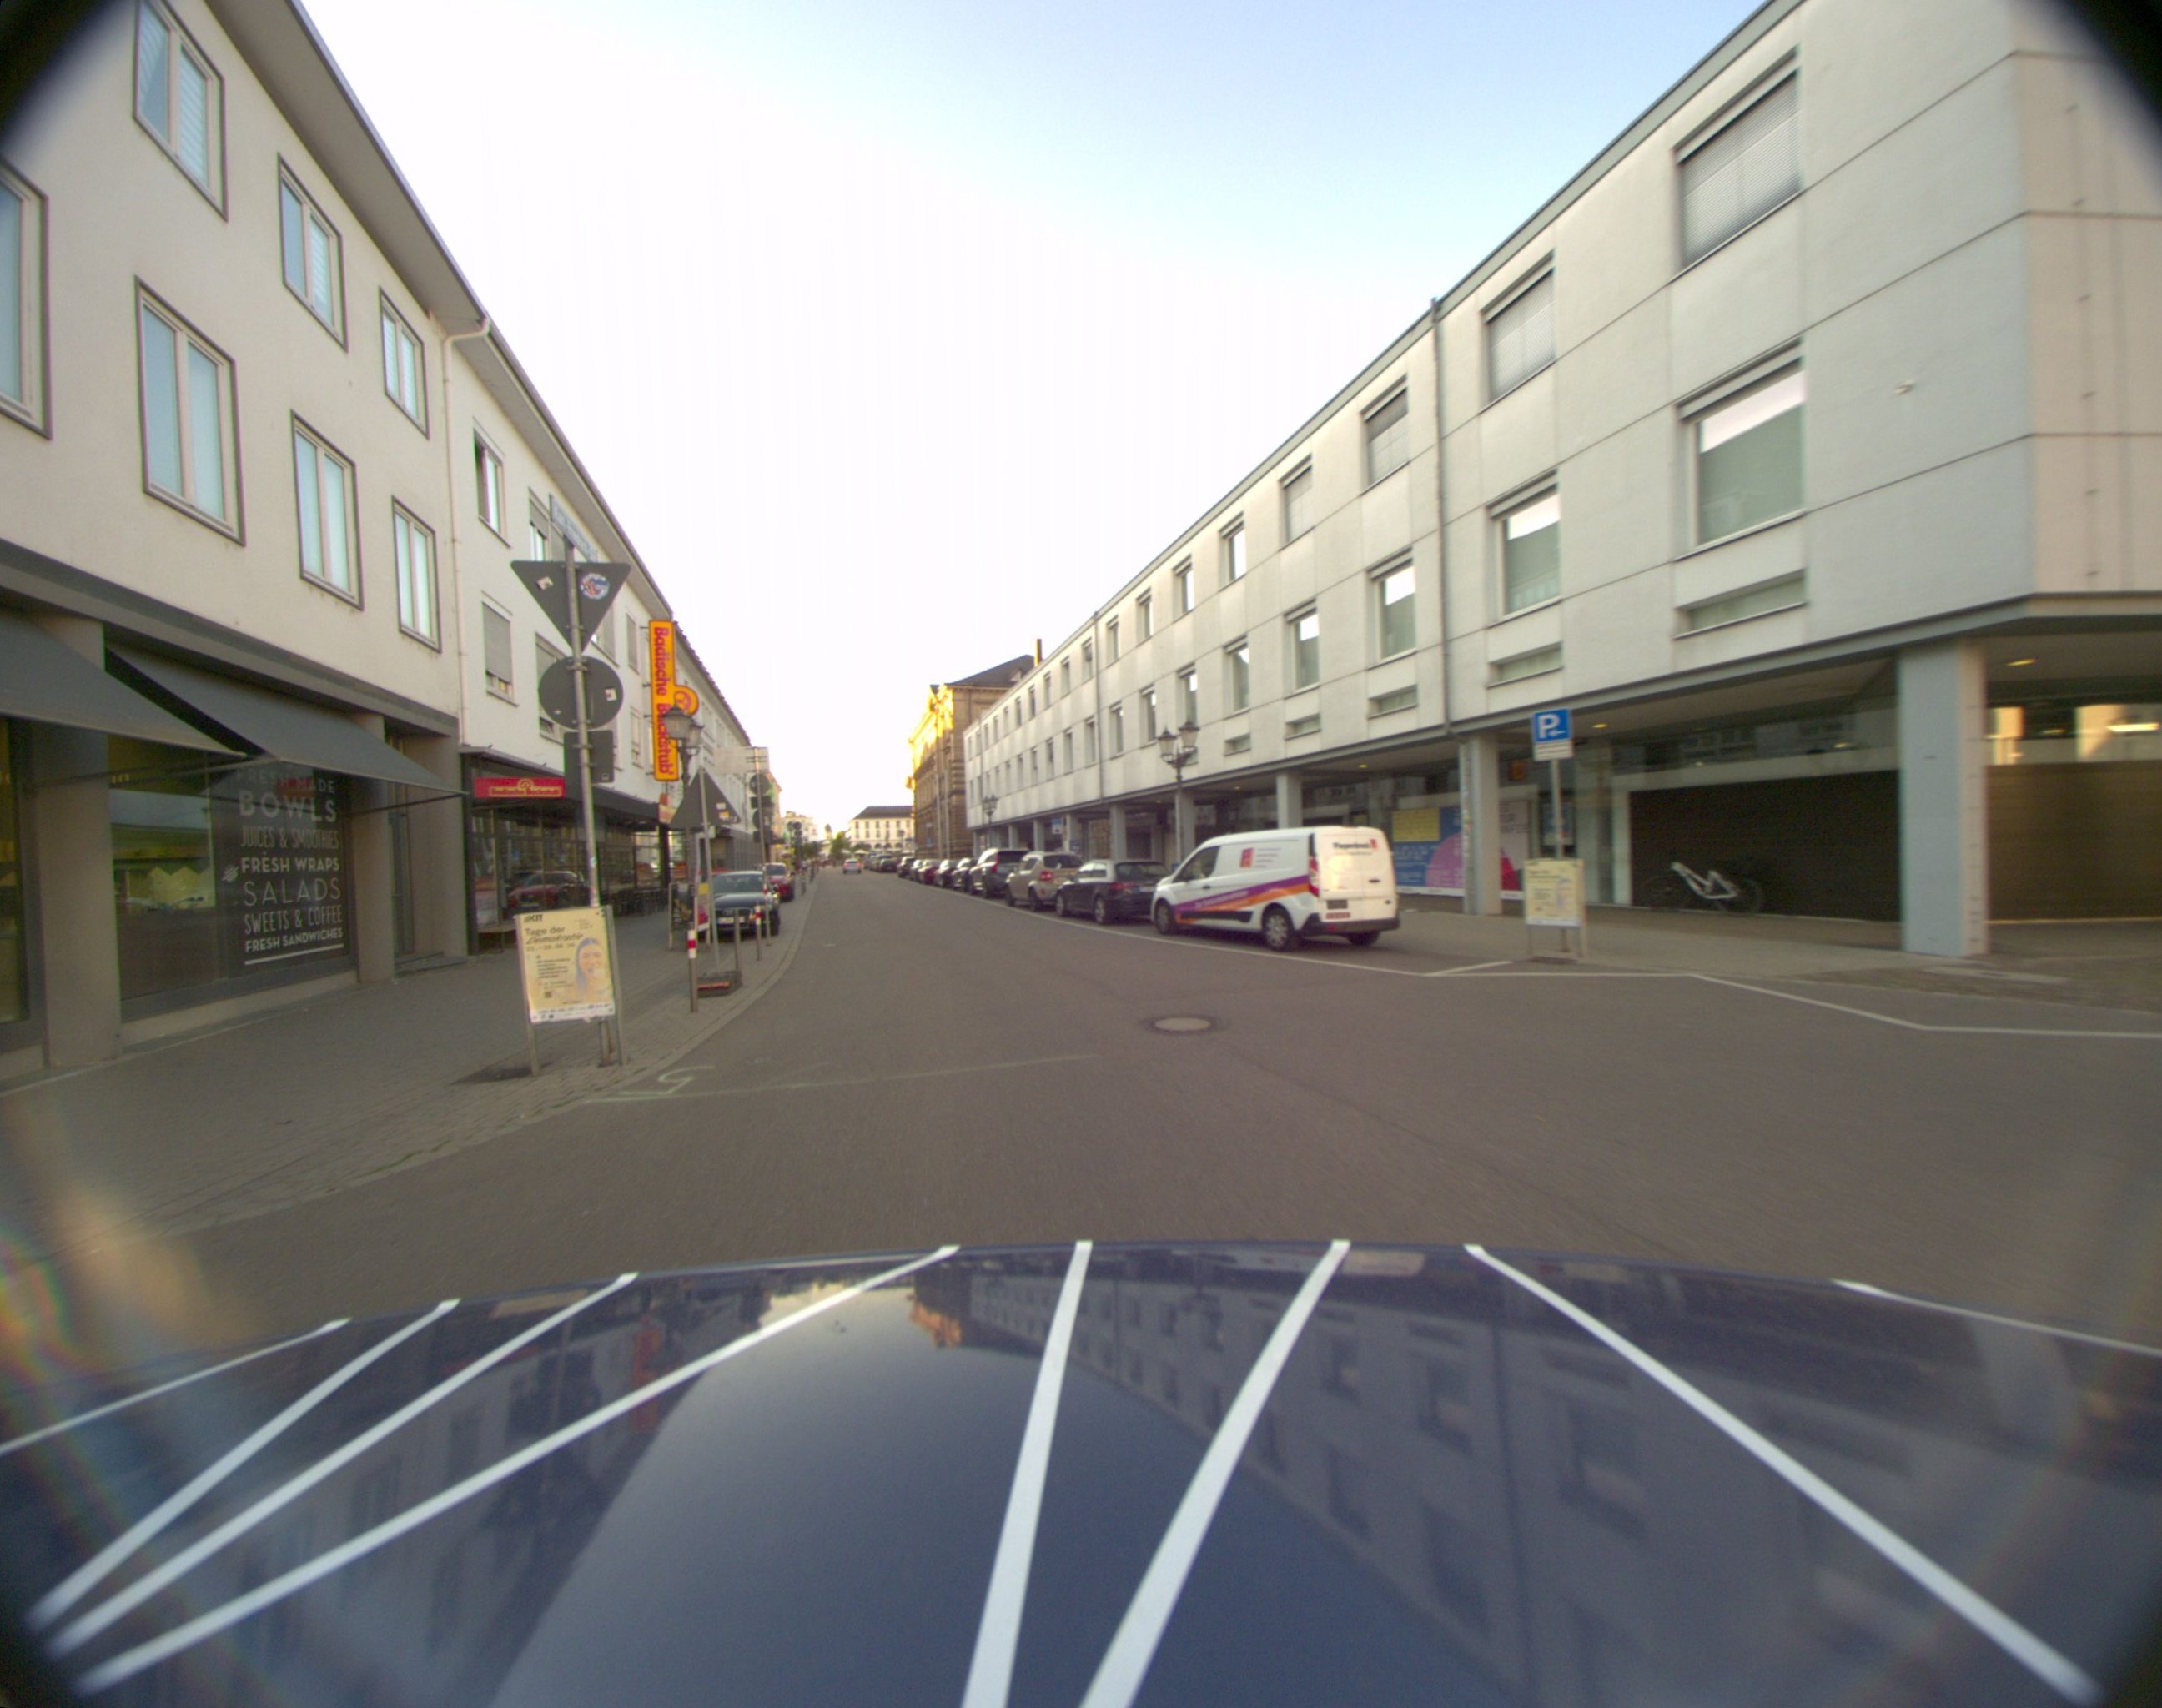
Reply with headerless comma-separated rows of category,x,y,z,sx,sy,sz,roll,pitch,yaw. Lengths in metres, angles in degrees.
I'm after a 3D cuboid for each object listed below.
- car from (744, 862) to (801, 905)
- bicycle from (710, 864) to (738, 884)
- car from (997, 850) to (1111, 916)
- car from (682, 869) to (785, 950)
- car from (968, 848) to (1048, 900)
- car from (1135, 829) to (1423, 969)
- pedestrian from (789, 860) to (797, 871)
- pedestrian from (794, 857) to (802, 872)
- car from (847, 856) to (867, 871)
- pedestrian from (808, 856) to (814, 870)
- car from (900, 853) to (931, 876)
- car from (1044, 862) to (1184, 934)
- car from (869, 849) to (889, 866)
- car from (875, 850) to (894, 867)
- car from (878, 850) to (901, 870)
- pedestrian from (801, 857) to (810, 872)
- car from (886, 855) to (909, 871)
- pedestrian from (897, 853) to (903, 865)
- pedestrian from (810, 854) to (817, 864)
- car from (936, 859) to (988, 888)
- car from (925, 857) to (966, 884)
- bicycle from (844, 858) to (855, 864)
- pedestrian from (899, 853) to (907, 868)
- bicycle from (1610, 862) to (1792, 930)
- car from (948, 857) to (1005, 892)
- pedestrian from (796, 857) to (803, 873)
car,-12.350,1.114,30.591,1.766,1.514,3.671,-2,1,-18
bicycle,-24.127,1.357,51.339,1.663,1.245,0.438,-2,1,-21
car,-0.887,0.736,21.827,2.002,1.652,3.992,-2,1,-22
car,-7.722,1.142,17.199,1.809,1.455,4.109,-2,1,-21
car,-2.766,0.680,27.814,2.001,1.718,4.508,-1,0,-18
car,2.960,0.596,12.625,2.002,1.805,4.774,-3,1,-25
pedestrian,-36.532,1.438,96.370,0.778,1.352,0.722,-3,1,-34
pedestrian,-32.530,1.192,87.200,0.716,1.720,0.872,-2,1,-16
car,-23.656,0.985,80.091,1.771,1.414,3.993,-1,0,-19
pedestrian,-33.274,1.128,93.646,0.609,1.720,0.557,-2,1,-17
car,-12.187,0.744,55.726,1.792,1.605,4.159,-2,1,-17
car,0.607,0.898,17.365,1.685,1.346,4.098,-3,1,-21
car,-27.508,0.495,103.460,2.002,2.159,5.198,-3,1,-21
car,-25.147,0.562,97.069,2.001,2.075,5.198,-2,1,-18
car,-21.651,0.659,85.737,2.001,2.066,4.981,-2,2,-19
pedestrian,-31.866,1.201,87.851,0.750,1.720,0.880,-2,1,-12
car,-19.272,0.934,79.600,2.001,1.486,4.158,-2,1,-18
pedestrian,-24.818,0.677,104.203,0.609,1.720,0.702,-2,1,-17
pedestrian,-47.140,0.900,133.829,0.667,1.720,0.767,-2,1,25
car,-6.117,0.943,38.733,2.001,1.346,3.994,-1,0,-18
car,-7.813,0.929,43.573,1.792,1.400,4.082,-2,1,-17
bicycle,-43.579,1.257,142.901,1.684,1.115,0.845,-2,1,16
pedestrian,-21.555,0.754,92.045,0.716,1.720,0.895,-5,2,-17
bicycle,10.392,0.655,12.873,0.736,0.978,2.331,-3,1,-19
car,-4.619,0.833,33.192,1.680,1.392,3.993,-2,0,-19
pedestrian,-31.916,1.240,86.132,0.622,1.779,0.912,-2,1,-14
